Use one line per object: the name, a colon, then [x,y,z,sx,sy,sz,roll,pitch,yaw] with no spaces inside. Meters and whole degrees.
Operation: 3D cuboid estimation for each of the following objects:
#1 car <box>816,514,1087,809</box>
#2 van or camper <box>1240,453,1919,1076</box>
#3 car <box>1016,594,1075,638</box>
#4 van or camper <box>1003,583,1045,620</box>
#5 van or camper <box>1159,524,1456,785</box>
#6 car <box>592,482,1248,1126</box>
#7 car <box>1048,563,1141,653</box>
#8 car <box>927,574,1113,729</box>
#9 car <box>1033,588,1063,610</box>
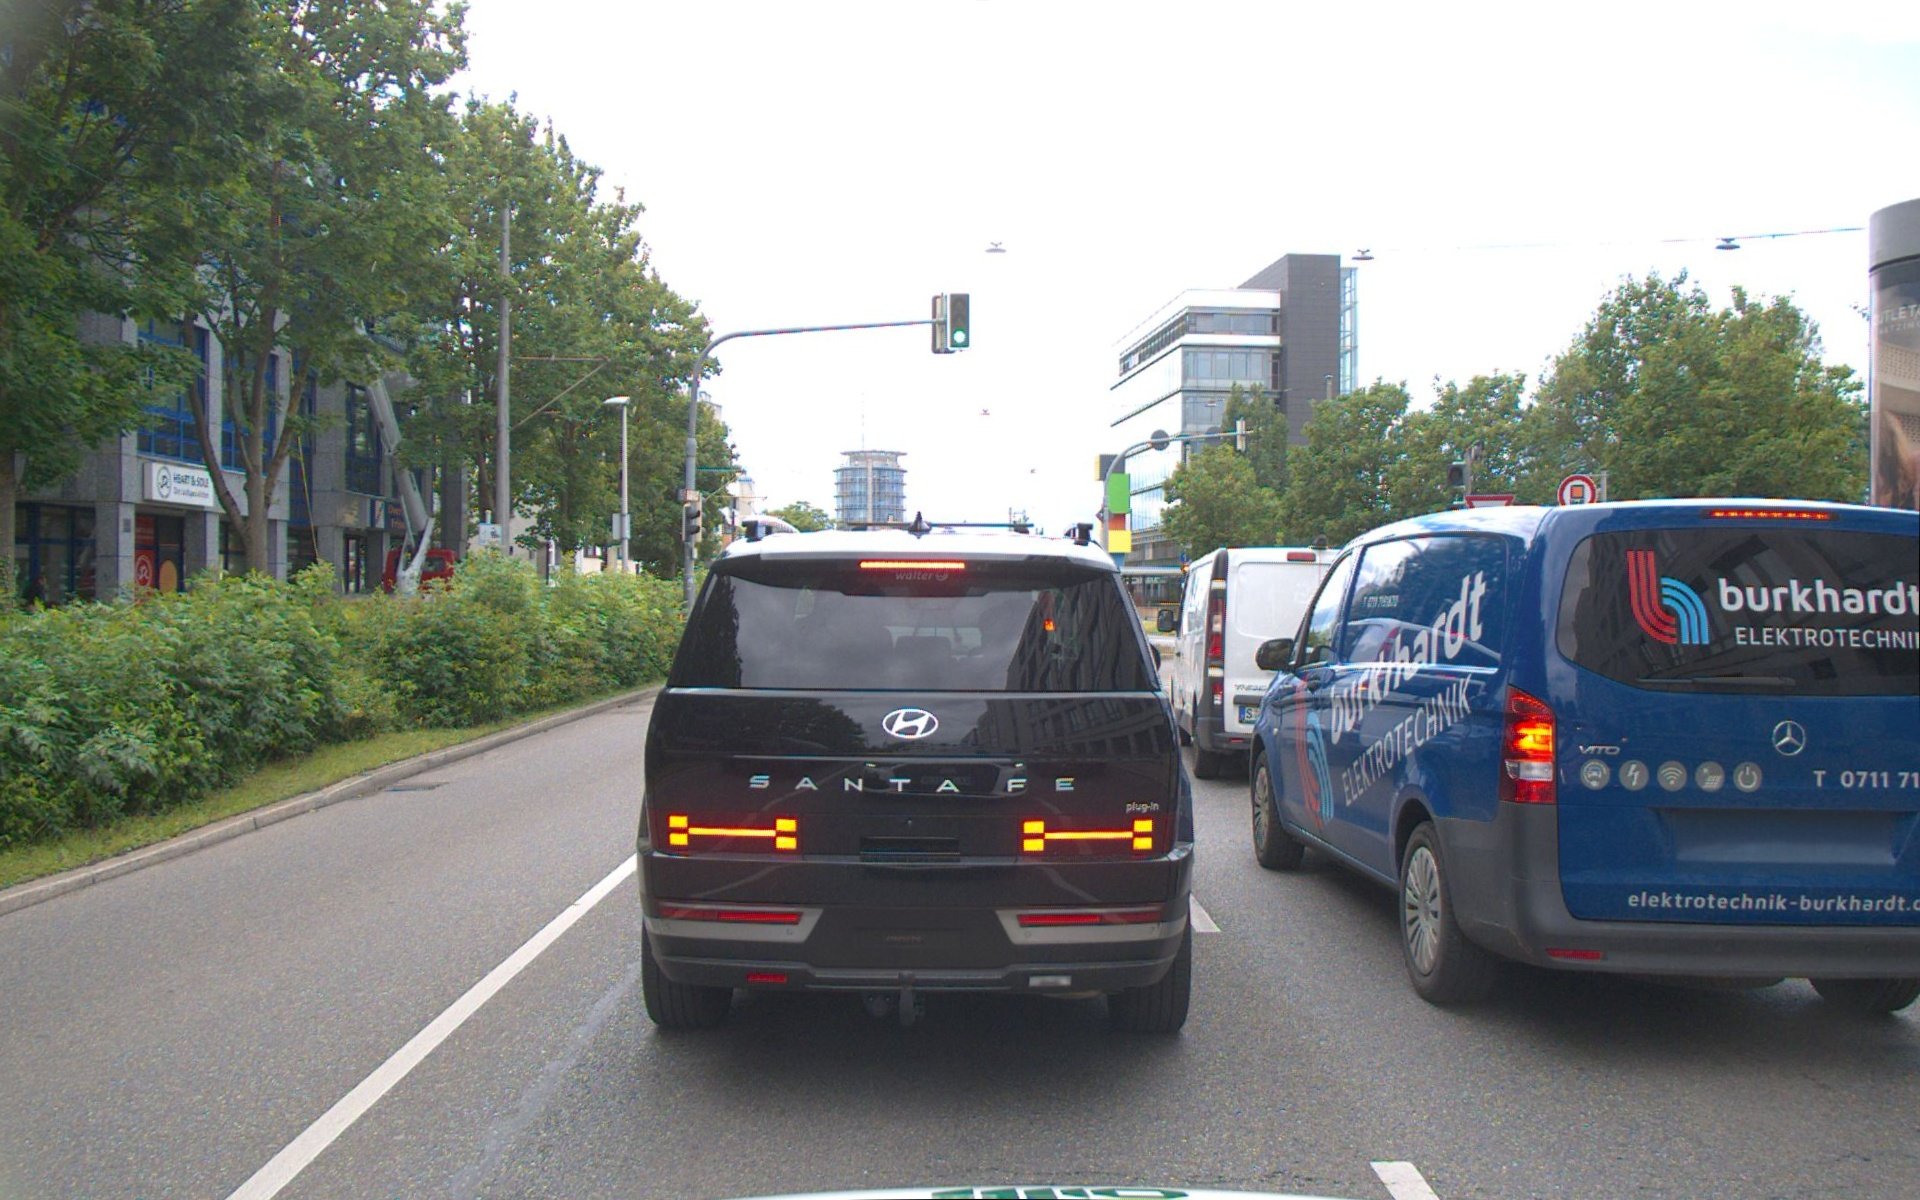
car: [-0.085,0.417,13.385,1.876,2.038,3.879,0,0,-1]
van or camper: [2.669,0.505,7.700,1.822,1.944,5.031,0,0,-1]
car: [3.258,0.611,63.719,1.953,1.646,3.999,1,0,-1]
van or camper: [4.708,0.106,120.348,1.951,2.591,6.583,0,0,12]
van or camper: [3.044,0.426,15.485,1.952,2.049,4.654,1,0,2]
car: [-0.133,0.561,6.561,1.831,1.791,3.879,0,0,-1]
car: [3.205,0.202,40.102,1.952,2.049,4.000,1,0,0]
car: [0.873,0.601,21.021,1.738,1.747,4.342,0,0,10]
car: [6.966,-0.035,131.834,1.954,1.713,3.997,1,0,-3]
